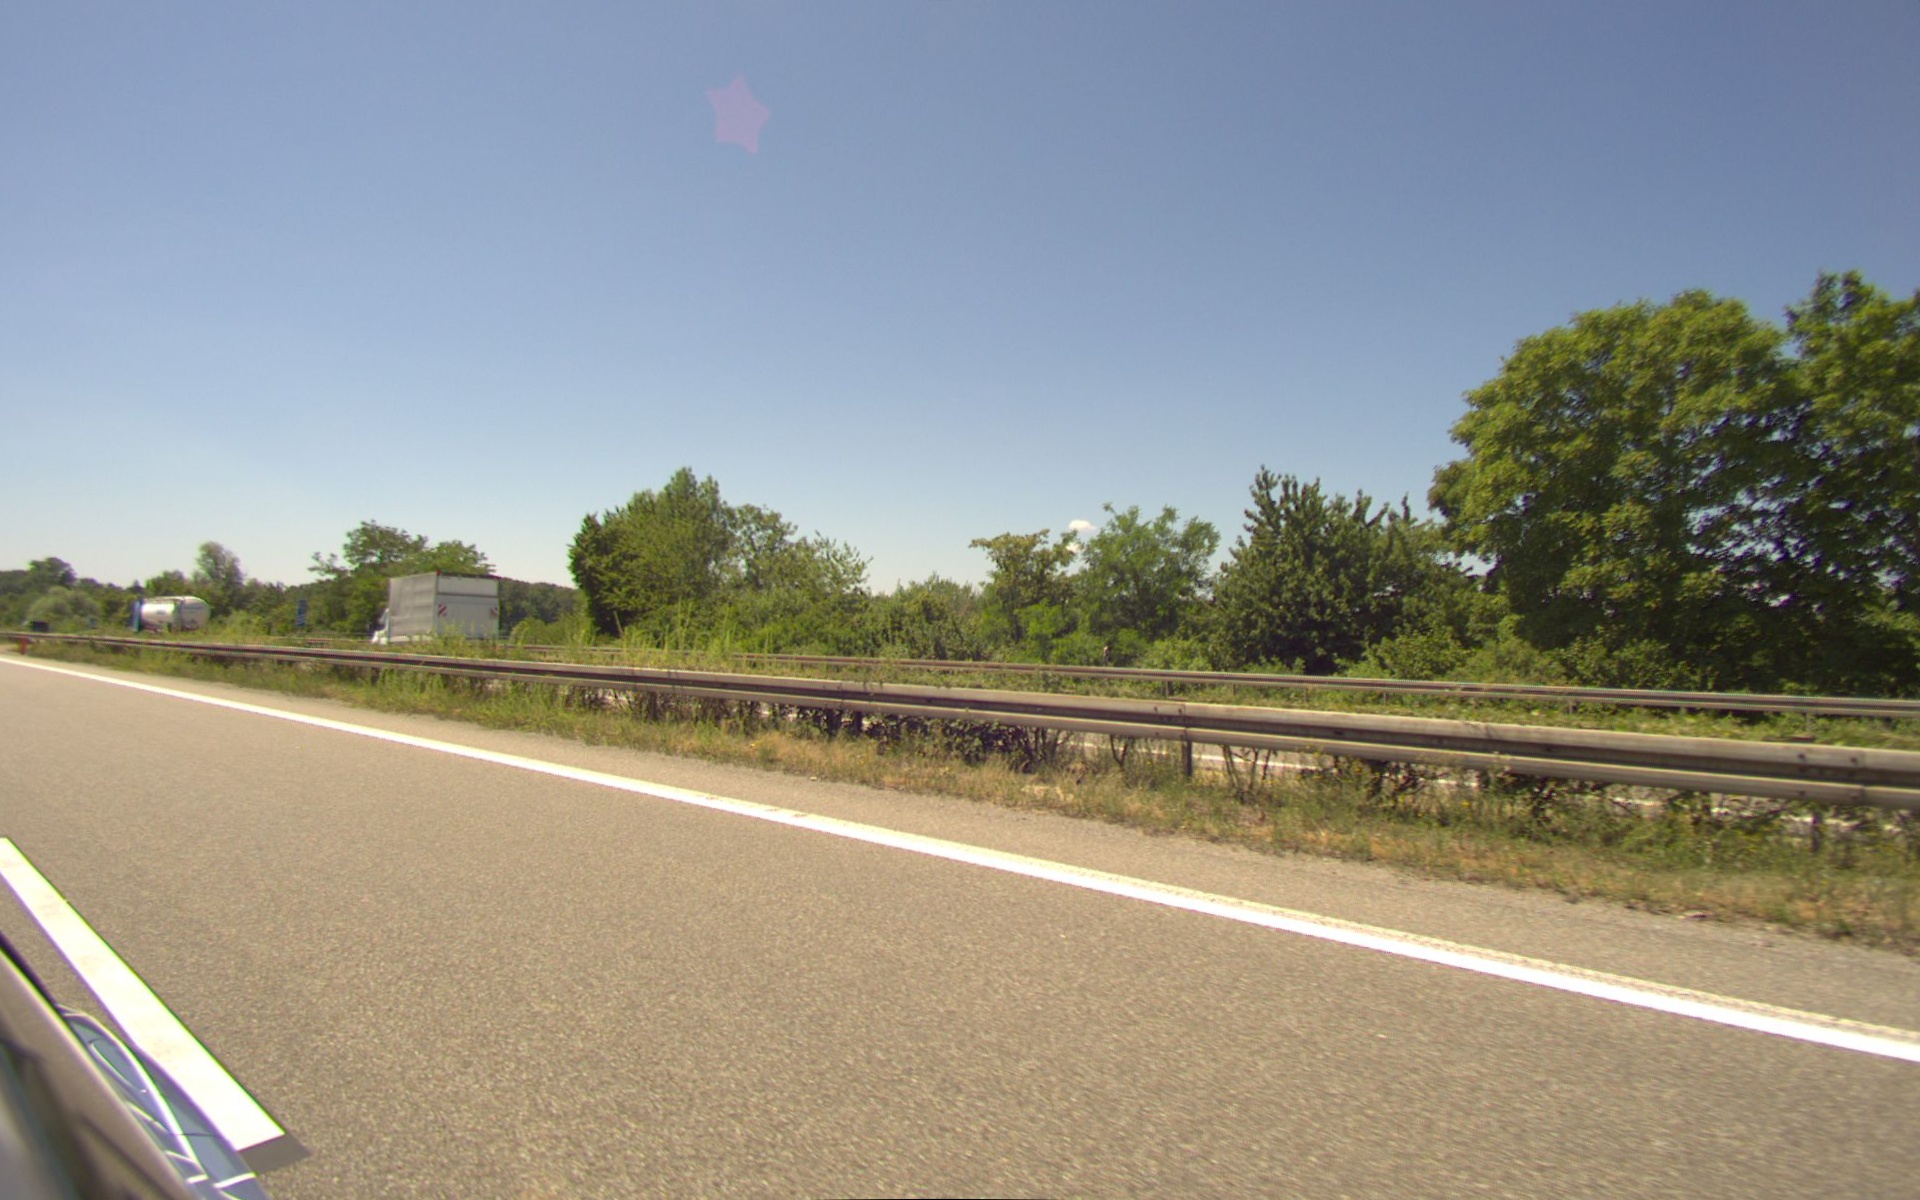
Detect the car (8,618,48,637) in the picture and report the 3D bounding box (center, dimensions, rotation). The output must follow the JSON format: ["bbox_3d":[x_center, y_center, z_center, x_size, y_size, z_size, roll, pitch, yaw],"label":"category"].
[{"bbox_3d":[-96.958,2.919,105.297,5.779,1.932,2.388,-2,-3,41],"label":"car"}]

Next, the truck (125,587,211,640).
[{"bbox_3d":[-66.532,1.163,84.770,15.929,4.083,2.700,-1,-2,41],"label":"truck"}]

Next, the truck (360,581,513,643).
[{"bbox_3d":[-19.472,0.491,37.440,7.136,2.083,2.699,-1,-2,42],"label":"truck"}]
